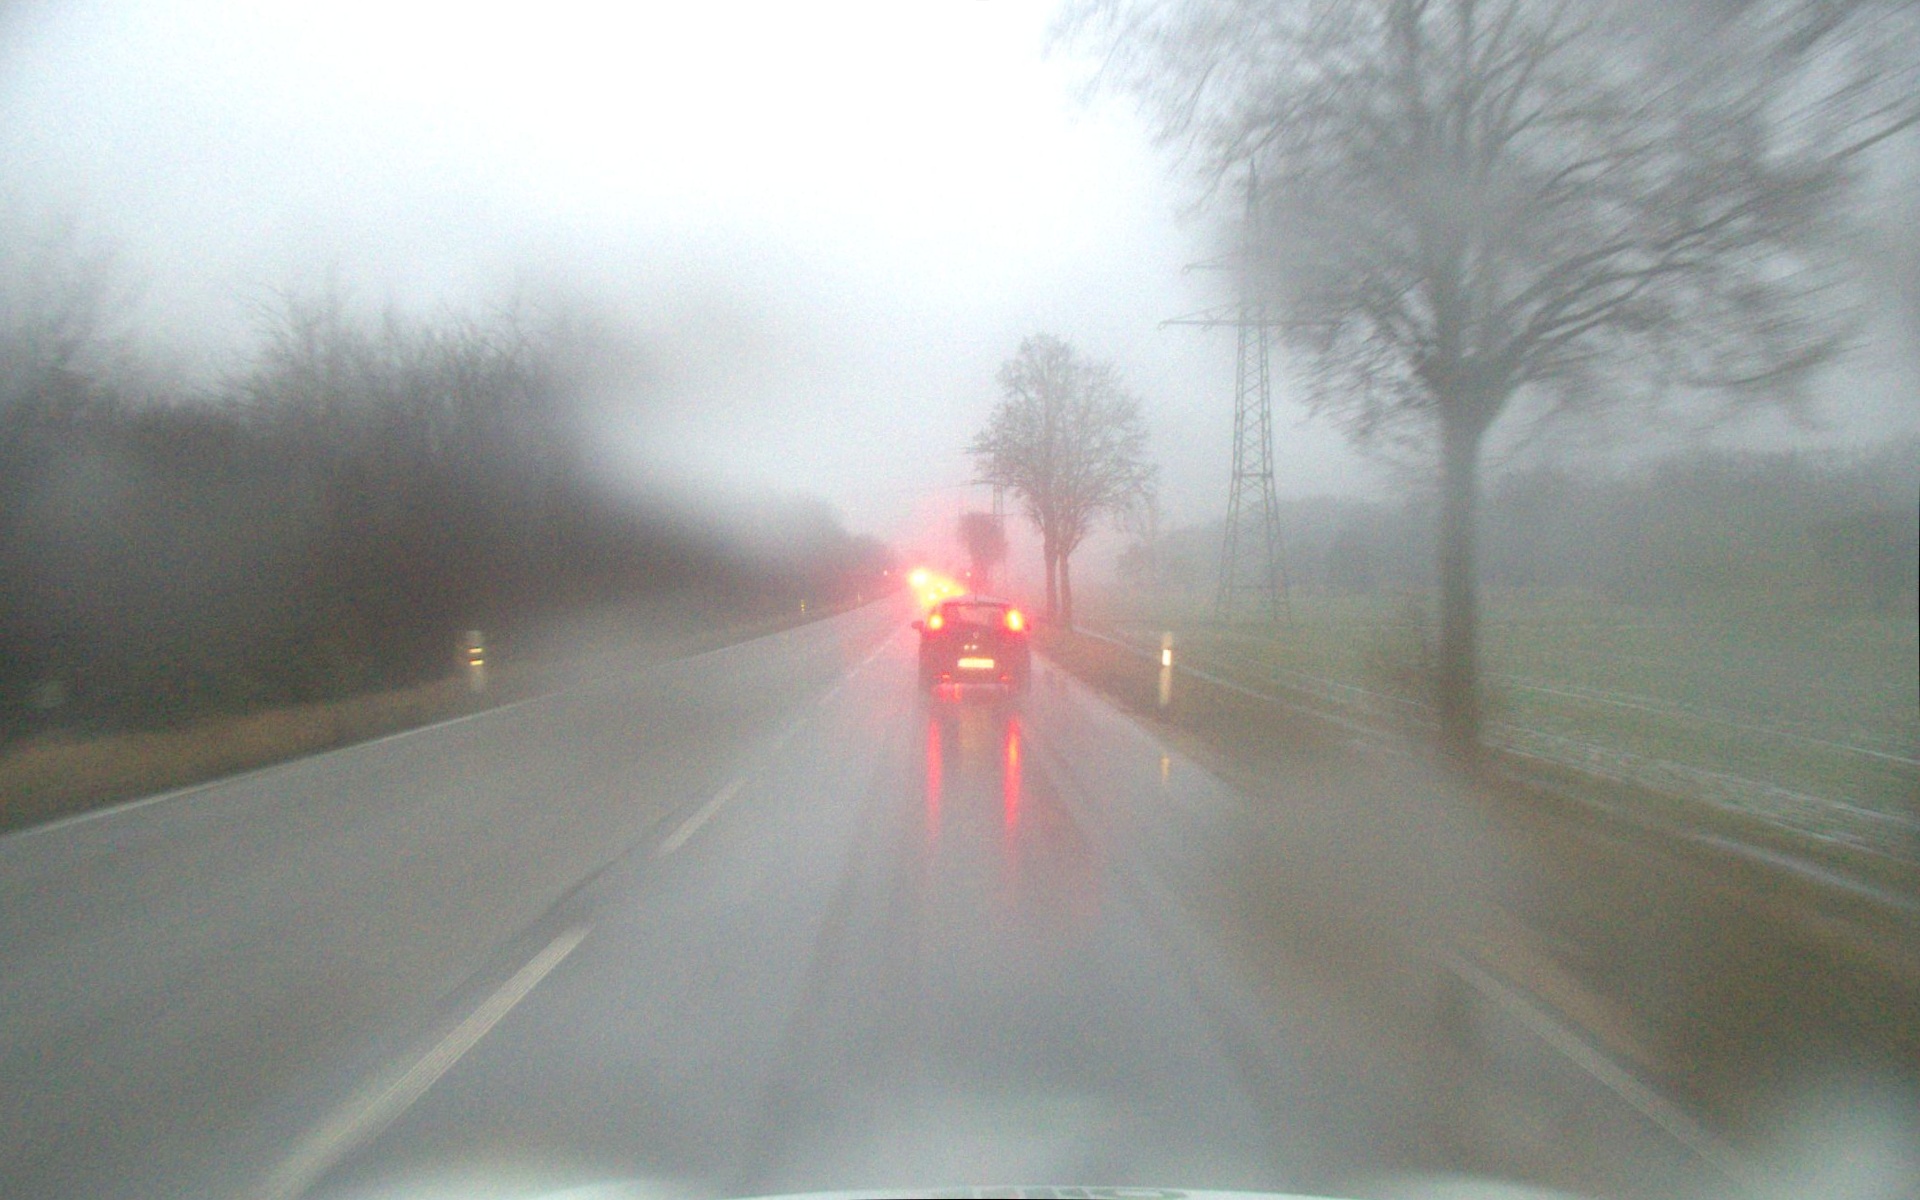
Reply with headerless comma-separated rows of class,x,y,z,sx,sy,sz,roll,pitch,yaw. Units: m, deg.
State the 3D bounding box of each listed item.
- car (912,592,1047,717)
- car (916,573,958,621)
car,0.263,0.778,25.961,1.953,1.782,4.000,0,1,-1
car,-1.142,-0.173,83.703,1.953,2.047,4.002,3,4,0
